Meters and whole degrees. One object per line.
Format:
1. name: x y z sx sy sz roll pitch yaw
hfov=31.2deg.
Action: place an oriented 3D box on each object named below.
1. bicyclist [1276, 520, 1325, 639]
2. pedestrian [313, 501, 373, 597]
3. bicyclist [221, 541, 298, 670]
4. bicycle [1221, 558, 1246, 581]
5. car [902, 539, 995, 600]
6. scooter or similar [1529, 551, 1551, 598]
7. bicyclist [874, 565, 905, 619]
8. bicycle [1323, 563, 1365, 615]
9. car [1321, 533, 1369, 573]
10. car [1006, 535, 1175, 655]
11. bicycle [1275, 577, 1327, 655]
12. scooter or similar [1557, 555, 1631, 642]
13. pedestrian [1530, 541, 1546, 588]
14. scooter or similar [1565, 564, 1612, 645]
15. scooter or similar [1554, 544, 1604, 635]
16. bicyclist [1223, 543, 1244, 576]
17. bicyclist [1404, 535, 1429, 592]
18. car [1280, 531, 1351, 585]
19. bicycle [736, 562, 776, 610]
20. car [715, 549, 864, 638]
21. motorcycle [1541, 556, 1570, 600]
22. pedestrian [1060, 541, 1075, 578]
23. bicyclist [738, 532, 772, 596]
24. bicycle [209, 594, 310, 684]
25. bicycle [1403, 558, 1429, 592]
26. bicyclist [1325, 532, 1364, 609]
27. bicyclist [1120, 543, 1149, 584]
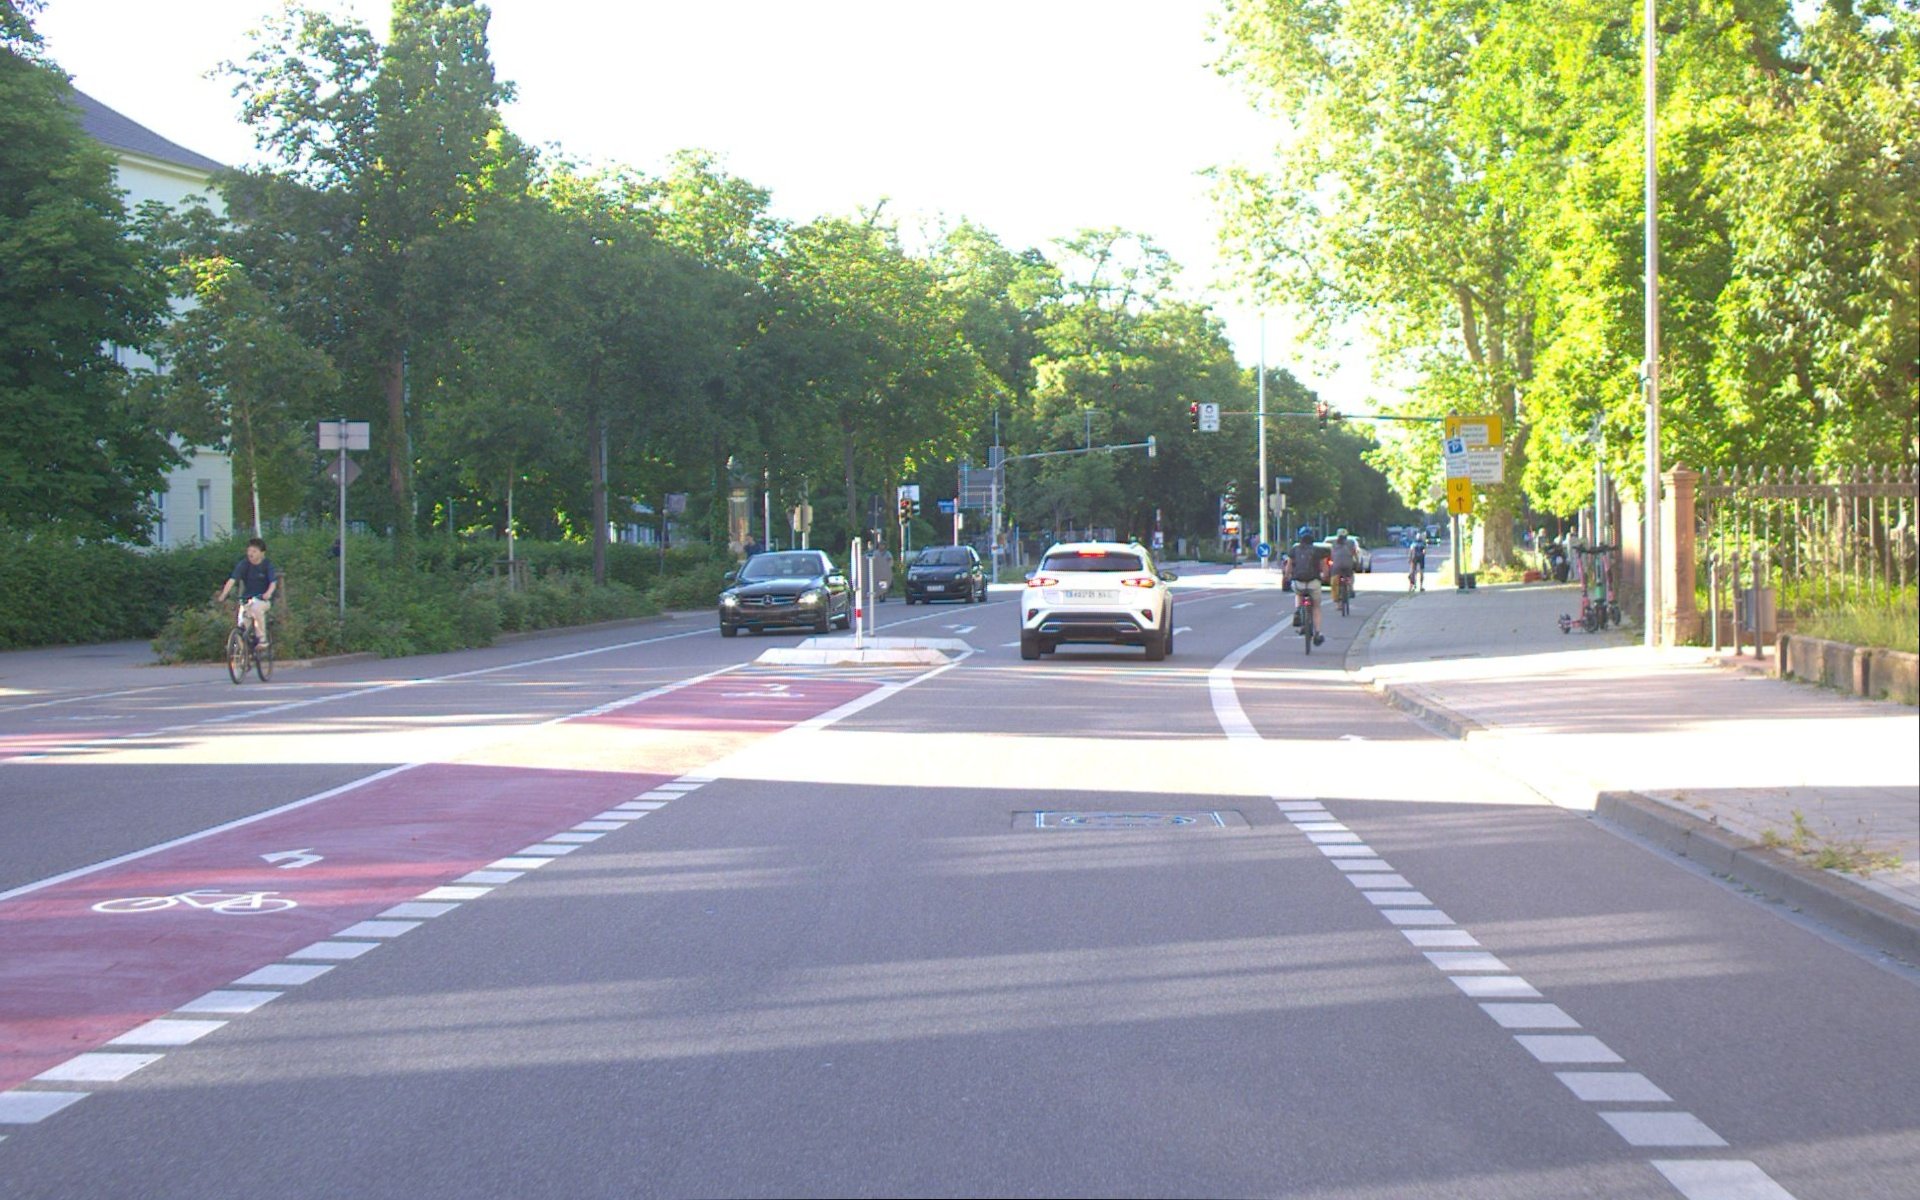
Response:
1. bicyclist: 4.647 -0.286 46.871 0.636 1.609 1.283 0 1 7
2. pedestrian: -12.191 -1.006 67.940 0.856 1.845 1.001 -1 0 7
3. bicyclist: -8.323 0.065 40.866 0.656 1.480 0.665 -4 1 3
4. bicycle: 14.483 -1.600 181.976 0.964 1.177 2.950 -1 1 11
5. car: -0.261 -0.776 85.331 1.758 1.454 3.999 -1 1 8
6. scooter or similar: 17.339 -0.761 102.788 0.566 1.378 1.856 -1 1 7
7. bicyclist: -1.897 -0.218 92.369 0.646 1.414 0.970 -4 1 6
8. bicycle: 7.661 -0.214 68.537 0.753 1.022 1.869 0 0 8
9. car: 15.283 -1.871 136.454 1.737 1.541 3.999 -1 1 9
10. car: 1.742 -0.090 44.582 1.994 1.448 3.999 -1 1 5
11. bicycle: 4.660 0.207 46.921 0.643 1.021 2.212 1 1 7
12. scooter or similar: 9.324 -0.026 50.601 0.547 1.238 1.558 -2 1 -9
13. pedestrian: 22.580 -1.398 134.315 0.482 1.786 0.431 -4 3 15
14. scooter or similar: 8.906 0.056 48.735 0.480 1.118 1.336 -1 0 4
15. scooter or similar: 8.576 -0.151 47.657 0.296 1.235 1.161 -2 1 -8
16. bicyclist: 14.465 -2.141 181.924 0.956 1.699 1.232 -1 1 10
17. bicyclist: 13.826 -1.107 104.069 0.750 1.744 0.843 0 1 8
18. car: 10.670 -1.256 102.937 1.929 1.528 3.999 -1 1 8
19. bicycle: -4.960 -0.353 83.662 0.597 1.117 2.026 -4 0 6
20. car: -2.846 -0.136 58.423 1.812 1.415 4.554 -1 1 6
21. motorcycle: 16.631 -0.626 96.043 0.662 1.163 2.327 -3 0 8
22. pedestrian: 5.502 -2.058 176.321 0.651 1.881 0.662 -1 0 11
23. bicyclist: -4.992 -0.872 83.738 0.629 1.517 0.724 -4 1 6
24. bicycle: -8.301 0.448 40.834 0.651 0.992 2.109 -2 1 3
25. bicycle: 13.808 -0.749 103.993 0.753 1.022 1.869 0 0 8
26. bicyclist: 7.675 -0.590 68.652 0.747 1.532 0.969 0 1 8
27. bicyclist: 7.642 -1.609 150.378 1.093 1.748 1.097 -1 0 11
